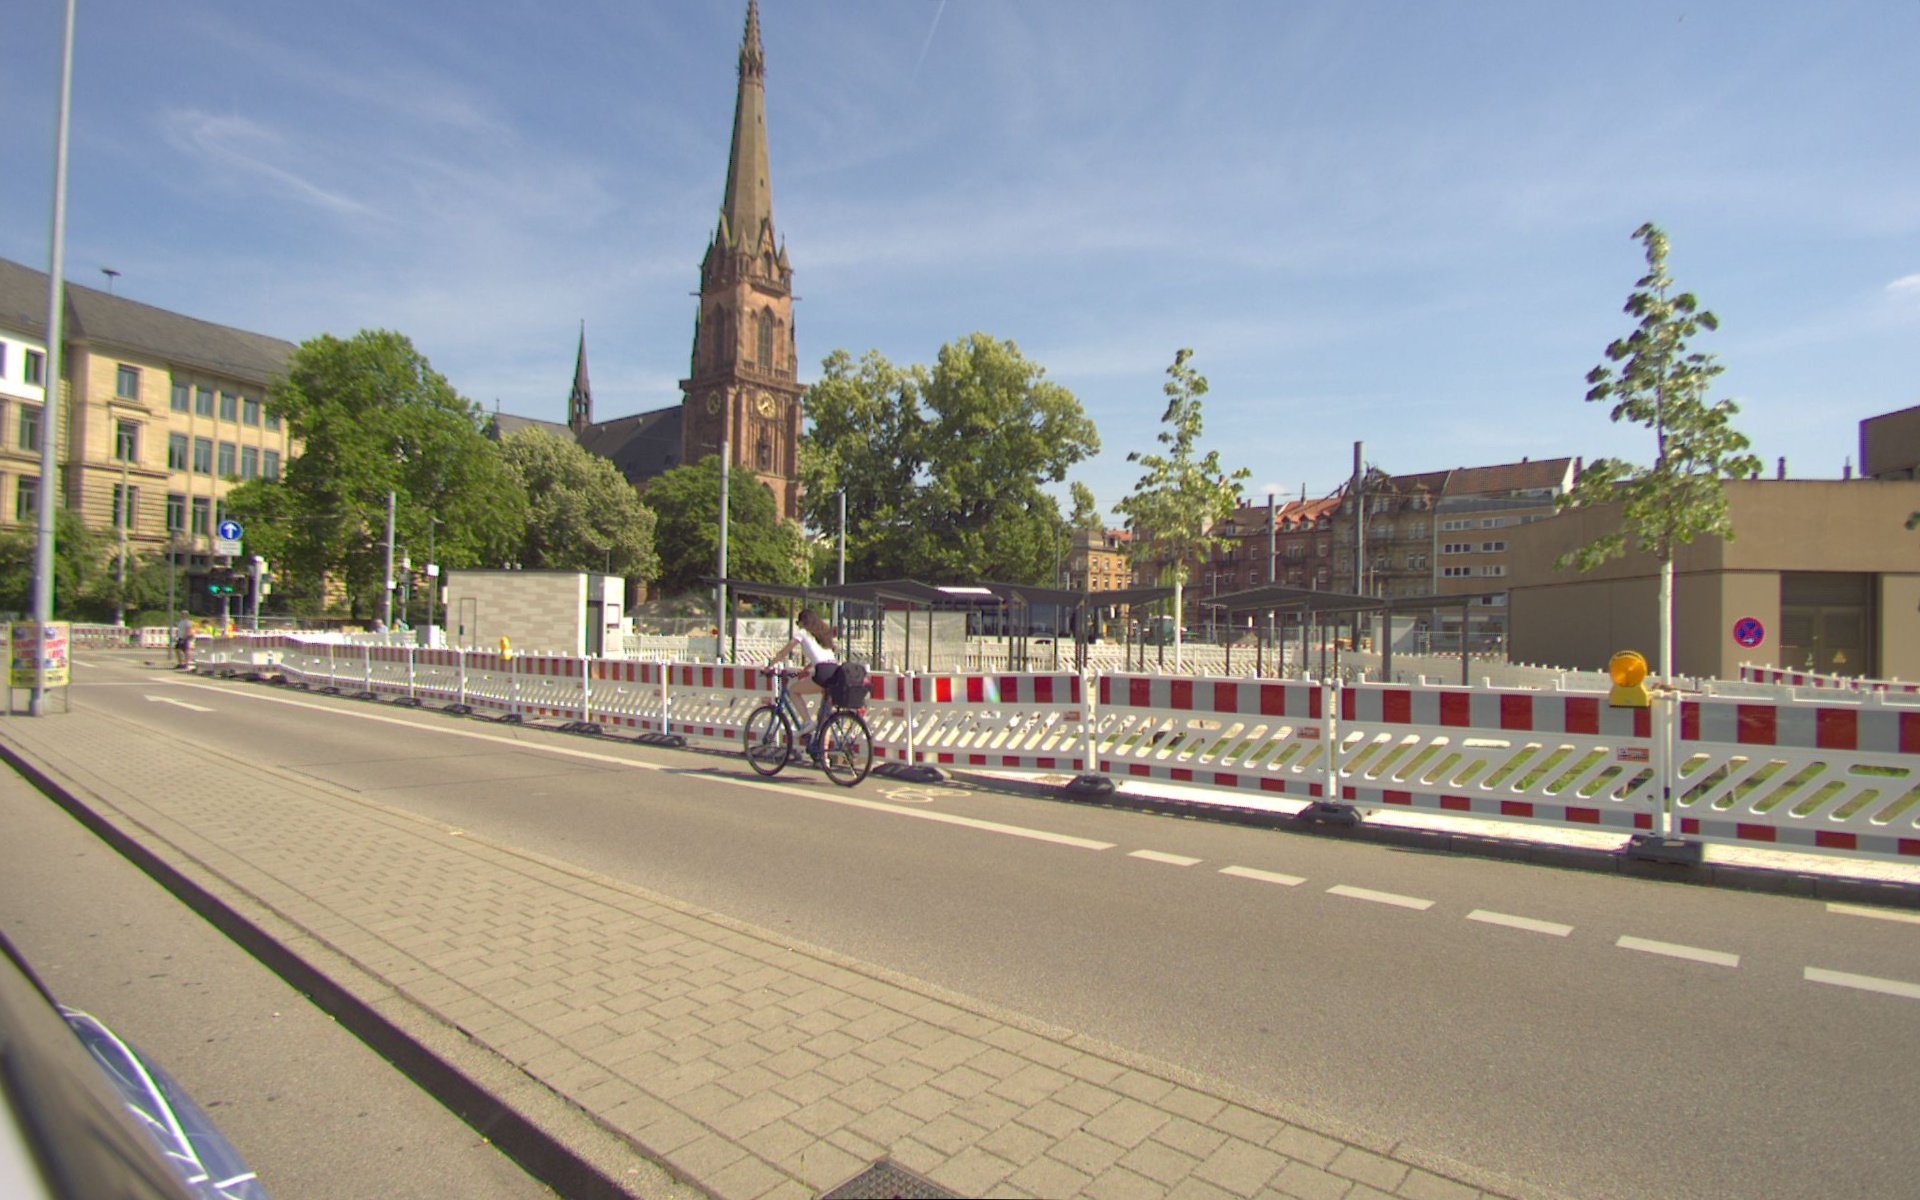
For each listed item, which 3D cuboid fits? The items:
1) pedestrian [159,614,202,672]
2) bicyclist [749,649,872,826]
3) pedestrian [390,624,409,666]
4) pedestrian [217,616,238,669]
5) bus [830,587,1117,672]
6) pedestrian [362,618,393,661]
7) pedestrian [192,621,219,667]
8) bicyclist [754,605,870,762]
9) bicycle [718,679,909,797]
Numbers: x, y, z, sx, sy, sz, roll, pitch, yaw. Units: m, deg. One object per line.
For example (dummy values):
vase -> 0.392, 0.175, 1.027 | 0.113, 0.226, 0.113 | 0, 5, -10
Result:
pedestrian -> -24.601, 1.353, 31.948 | 0.829, 1.826, 0.650 | 0, -2, -4
bicyclist -> -1.464, 1.298, 9.890 | 1.012, 1.594, 0.613 | -1, -3, 37
pedestrian -> -22.071, 1.760, 39.848 | 0.576, 1.628, 0.692 | 1, -2, -24
pedestrian -> -22.828, 1.329, 31.550 | 0.686, 1.628, 0.346 | -1, -3, 42
bus -> 0.633, 1.298, 45.488 | 12.504, 3.516, 2.856 | 1, -2, 7
pedestrian -> -22.226, 1.502, 38.621 | 0.654, 1.628, 0.792 | 0, -2, 8
pedestrian -> -25.751, 1.509, 34.541 | 0.662, 1.555, 0.421 | -1, 0, 17
bicyclist -> -1.450, 0.792, 9.914 | 0.919, 1.454, 0.613 | -1, -3, 36
bicycle -> -1.464, 1.298, 9.890 | 1.964, 0.968, 0.613 | 0, -3, 37
